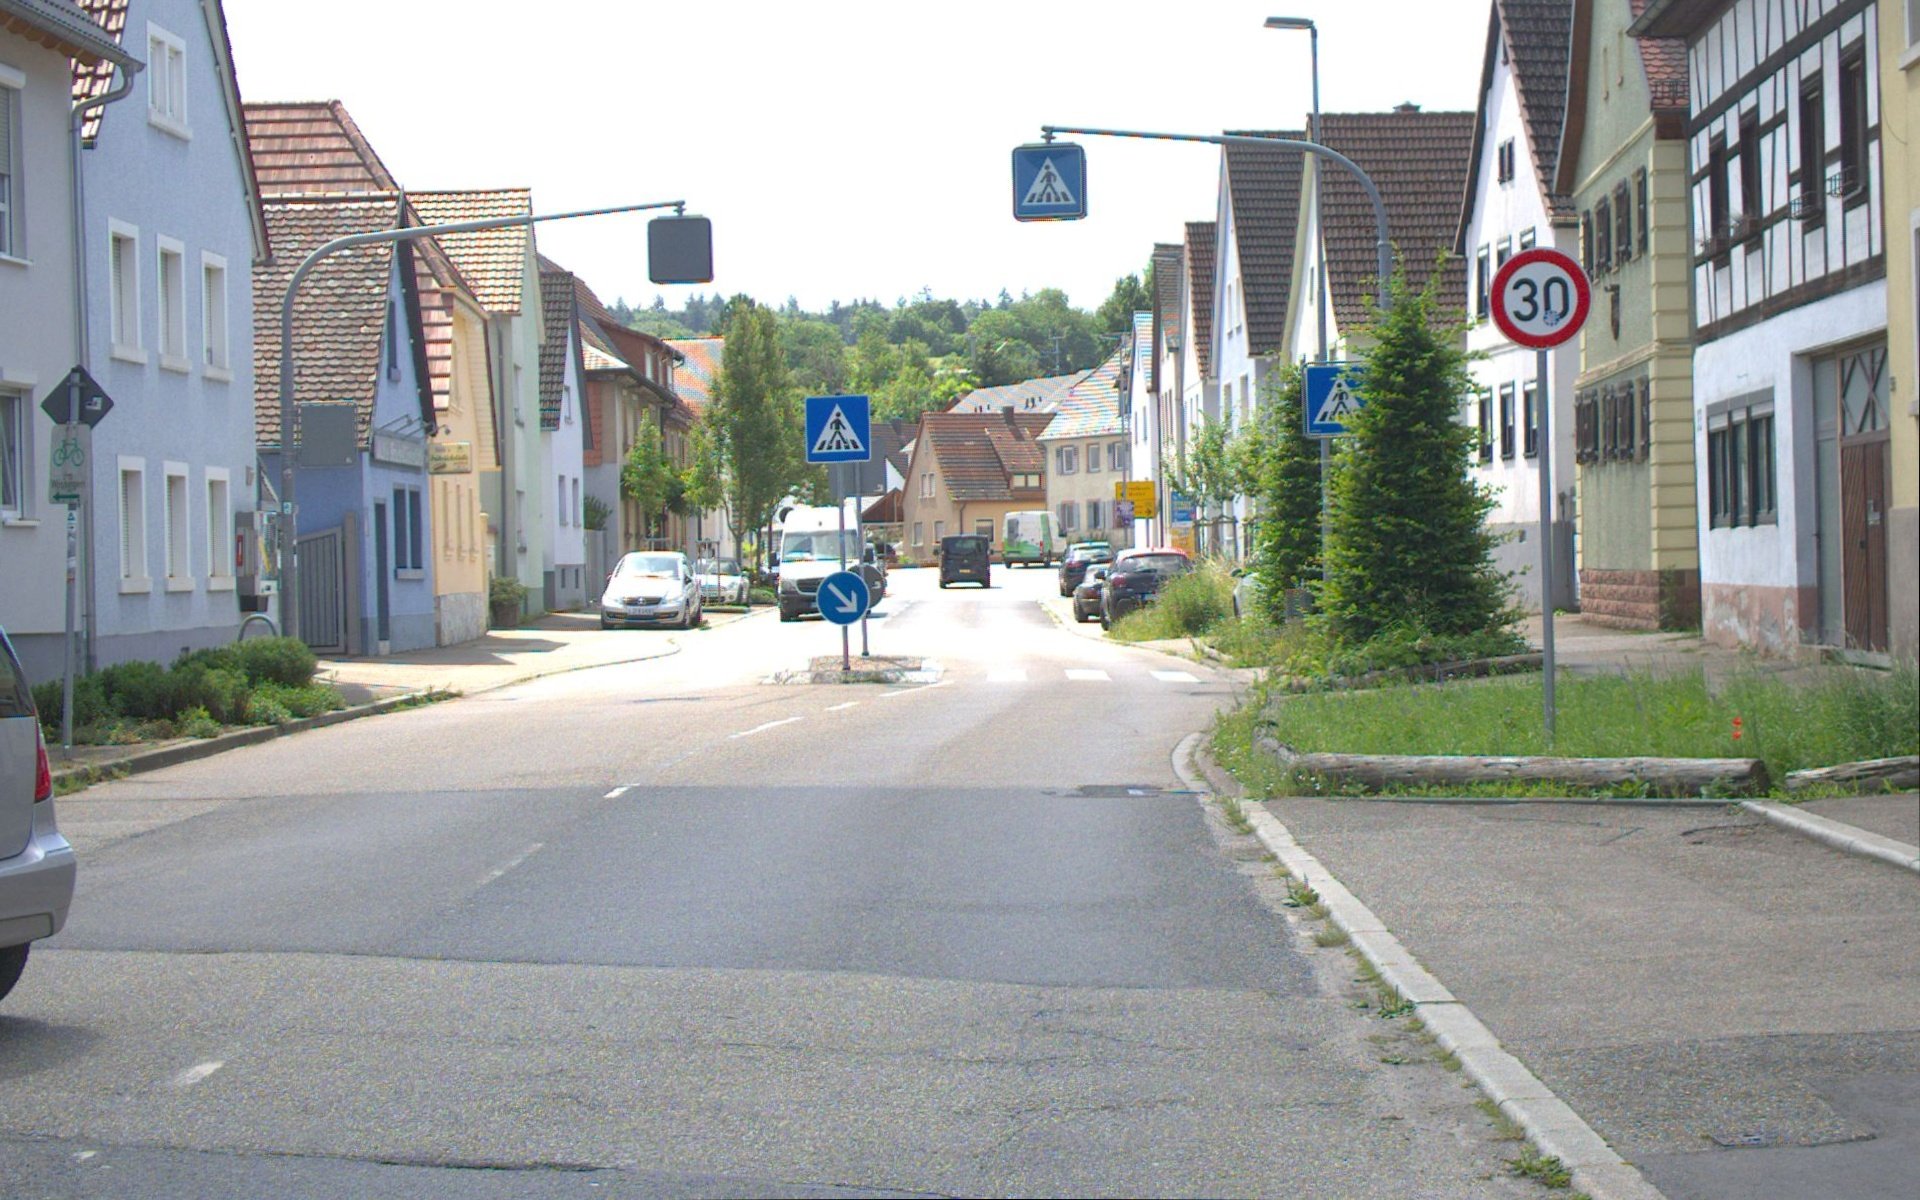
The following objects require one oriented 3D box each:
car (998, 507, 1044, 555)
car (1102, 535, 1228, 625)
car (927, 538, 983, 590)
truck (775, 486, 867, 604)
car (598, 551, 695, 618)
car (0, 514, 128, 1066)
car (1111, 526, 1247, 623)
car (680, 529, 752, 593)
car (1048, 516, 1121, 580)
[{"bbox_3d":[2.751,-3.106,155.972,1.993,2.007,4.000,0,-1,0],"label":"car"},{"bbox_3d":[3.623,-0.328,61.333,1.993,1.503,4.000,0,-1,0],"label":"car"},{"bbox_3d":[-0.195,-1.332,127.416,1.993,1.810,4.000,0,-1,-1],"label":"car"},{"bbox_3d":[-3.195,-1.226,80.180,1.993,2.528,6.739,0,-1,-1],"label":"truck"},{"bbox_3d":[-6.583,-0.313,72.153,1.993,1.317,3.709,0,-1,-5],"label":"car"},{"bbox_3d":[-4.679,0.528,10.623,3.721,1.638,1.814,1,0,23],"label":"car"},{"bbox_3d":[3.612,-0.398,57.307,1.993,1.503,4.000,0,-1,0],"label":"car"},{"bbox_3d":[-6.533,-1.026,92.405,1.667,1.590,4.000,0,-1,0],"label":"car"},{"bbox_3d":[3.777,-1.563,104.960,1.993,1.810,4.000,0,-1,-1],"label":"car"}]
